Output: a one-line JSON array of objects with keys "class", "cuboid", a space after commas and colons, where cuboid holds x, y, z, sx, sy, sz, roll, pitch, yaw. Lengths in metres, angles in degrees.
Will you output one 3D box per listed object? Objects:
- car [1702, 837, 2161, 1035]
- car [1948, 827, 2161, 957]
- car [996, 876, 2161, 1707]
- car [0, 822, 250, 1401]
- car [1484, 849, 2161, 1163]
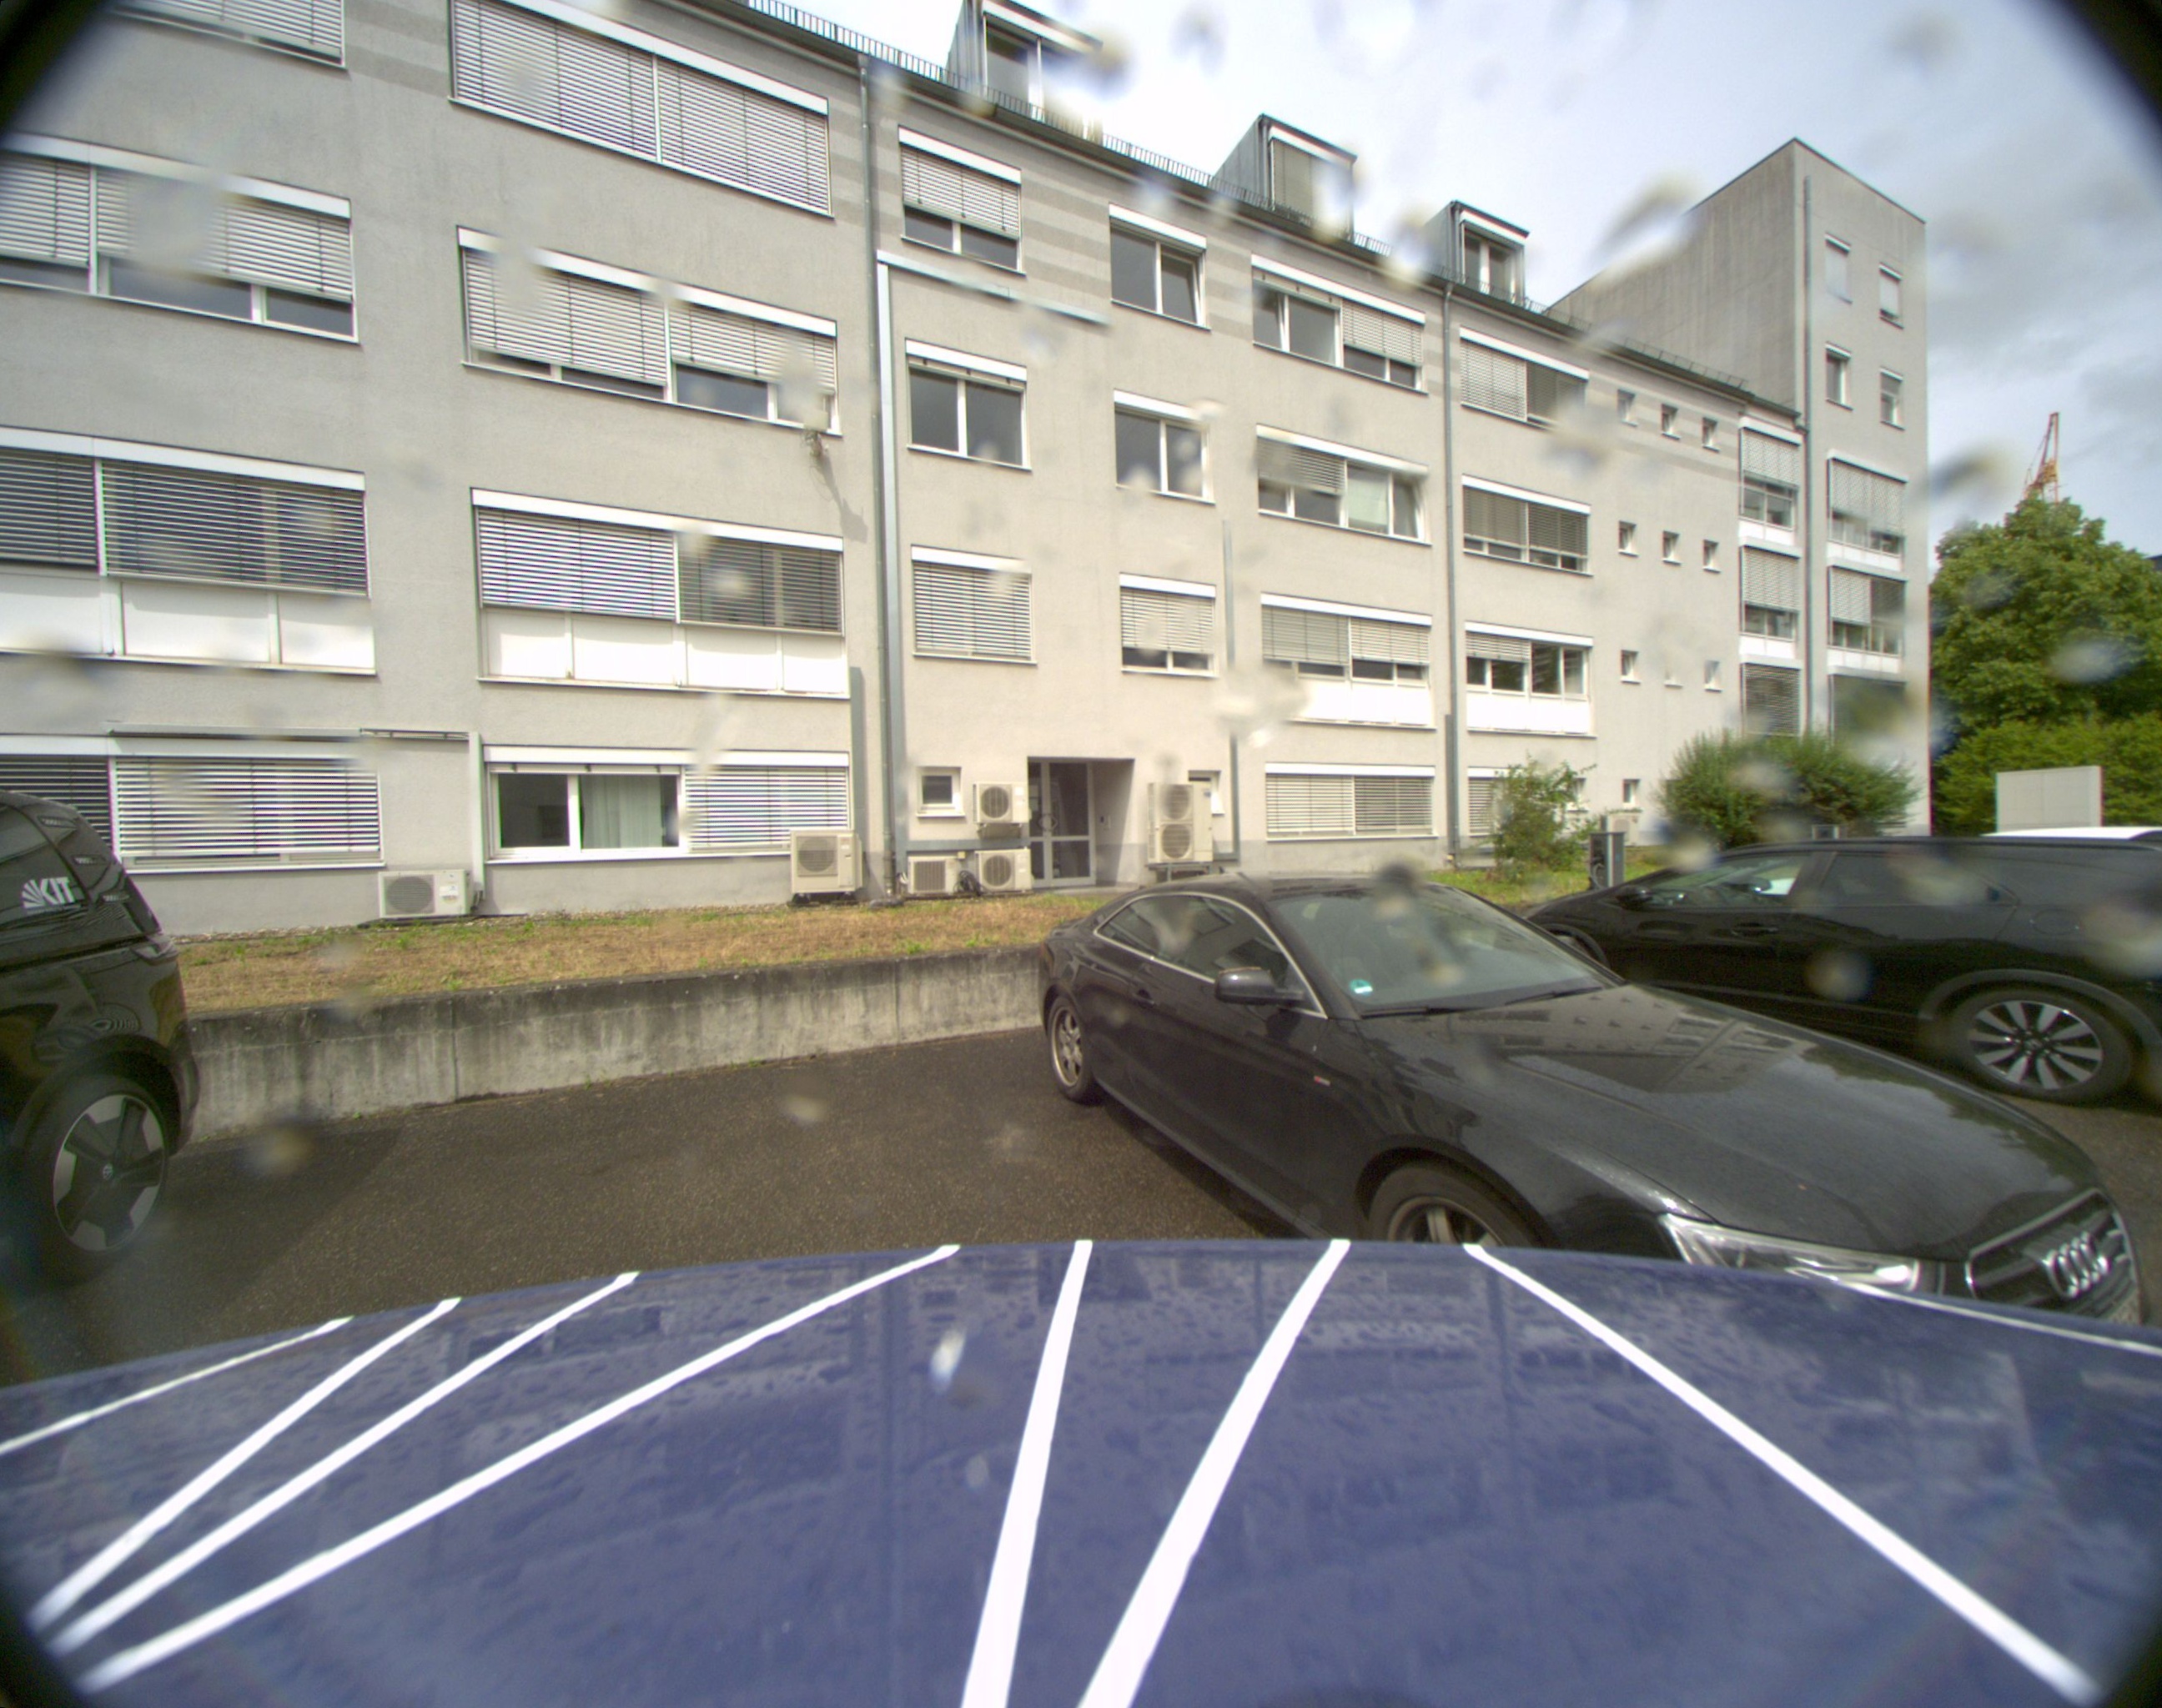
[{"class": "car", "cuboid": [8.494, 0.591, 6.898, 1.698, 1.434, 4.117, -3, 2, -23]}, {"class": "car", "cuboid": [13.330, 0.427, 8.596, 1.765, 1.434, 4.306, -3, 2, -24]}, {"class": "car", "cuboid": [1.144, 0.913, 3.454, 1.765, 1.344, 4.519, -3, 2, -23]}, {"class": "car", "cuboid": [-3.969, 0.875, 1.088, 1.973, 1.854, 4.737, -2, 2, -25]}, {"class": "car", "cuboid": [5.413, 0.729, 5.403, 1.765, 1.434, 4.306, -3, 2, -24]}]
